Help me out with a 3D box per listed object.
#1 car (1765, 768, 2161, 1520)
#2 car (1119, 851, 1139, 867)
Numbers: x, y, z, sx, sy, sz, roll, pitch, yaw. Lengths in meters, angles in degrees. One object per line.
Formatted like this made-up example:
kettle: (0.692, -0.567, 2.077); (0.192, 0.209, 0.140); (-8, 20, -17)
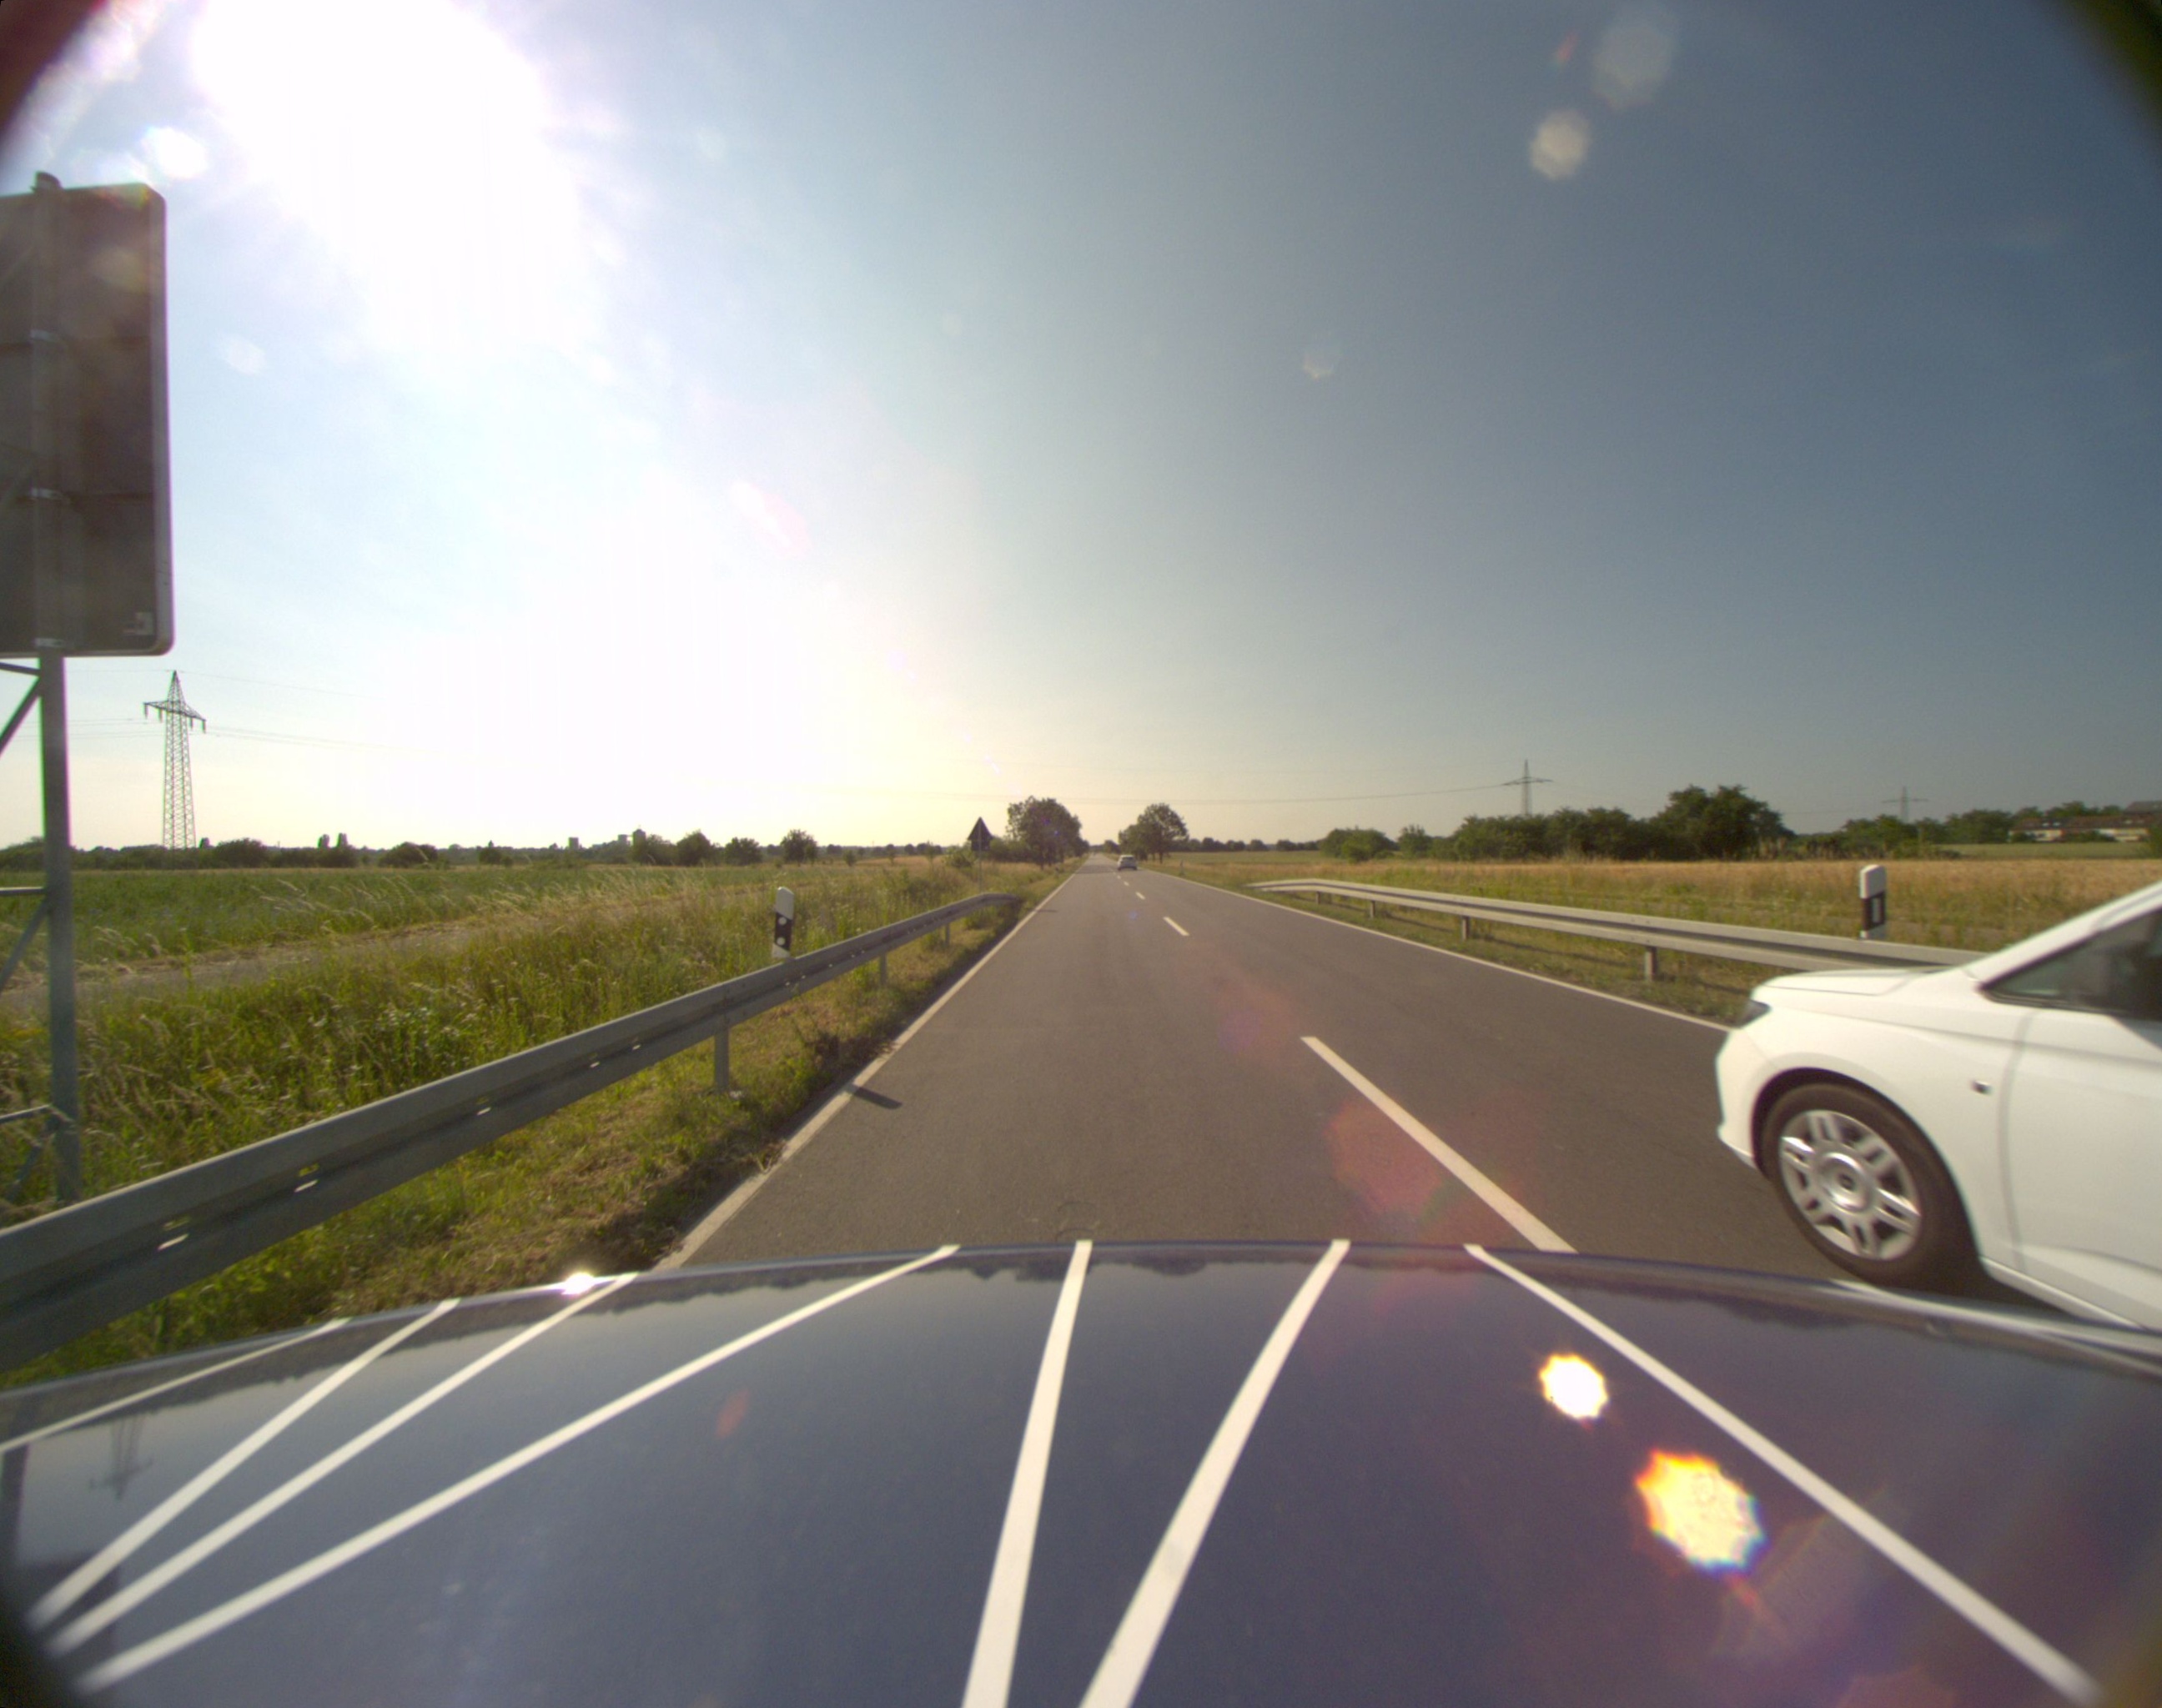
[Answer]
car: (3.425, 0.670, 0.607); (1.841, 1.776, 4.434); (-1, 0, 2)
car: (4.620, 0.502, 73.738); (1.731, 1.429, 4.516); (-1, 1, 1)
